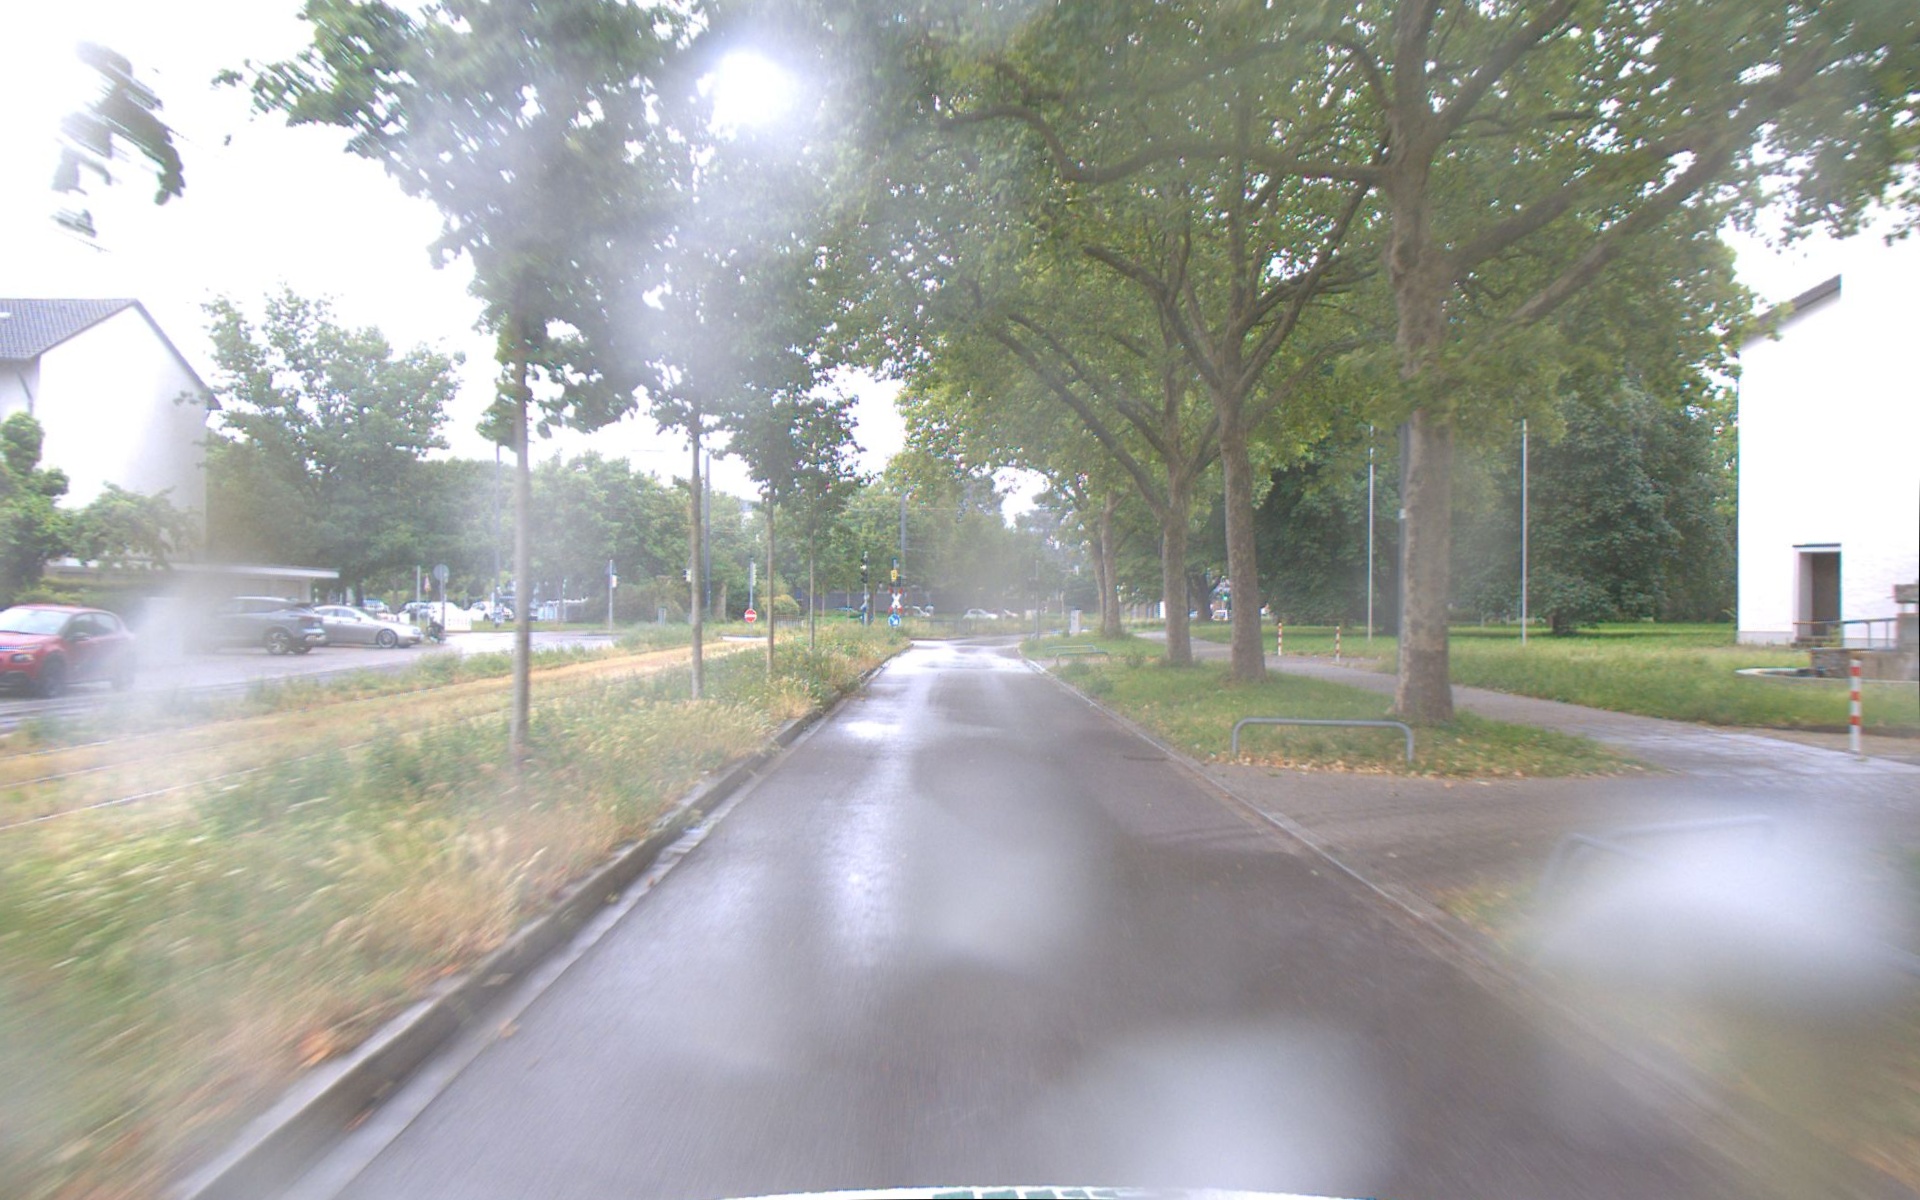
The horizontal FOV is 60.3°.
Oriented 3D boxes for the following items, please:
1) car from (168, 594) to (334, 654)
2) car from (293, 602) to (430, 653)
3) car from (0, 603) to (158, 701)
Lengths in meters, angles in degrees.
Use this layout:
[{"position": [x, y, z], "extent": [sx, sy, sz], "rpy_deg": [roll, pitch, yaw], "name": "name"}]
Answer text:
[{"position": [-20.367, 0.680, 47.631], "extent": [3.908, 1.645, 1.999], "rpy_deg": [-1, 0, -4], "name": "car"}, {"position": [-20.170, 0.923, 55.860], "extent": [3.908, 1.645, 1.999], "rpy_deg": [-1, 0, -4], "name": "car"}, {"position": [-16.154, 0.859, 29.215], "extent": [1.953, 1.514, 4.204], "rpy_deg": [2, 0, -2], "name": "car"}]
